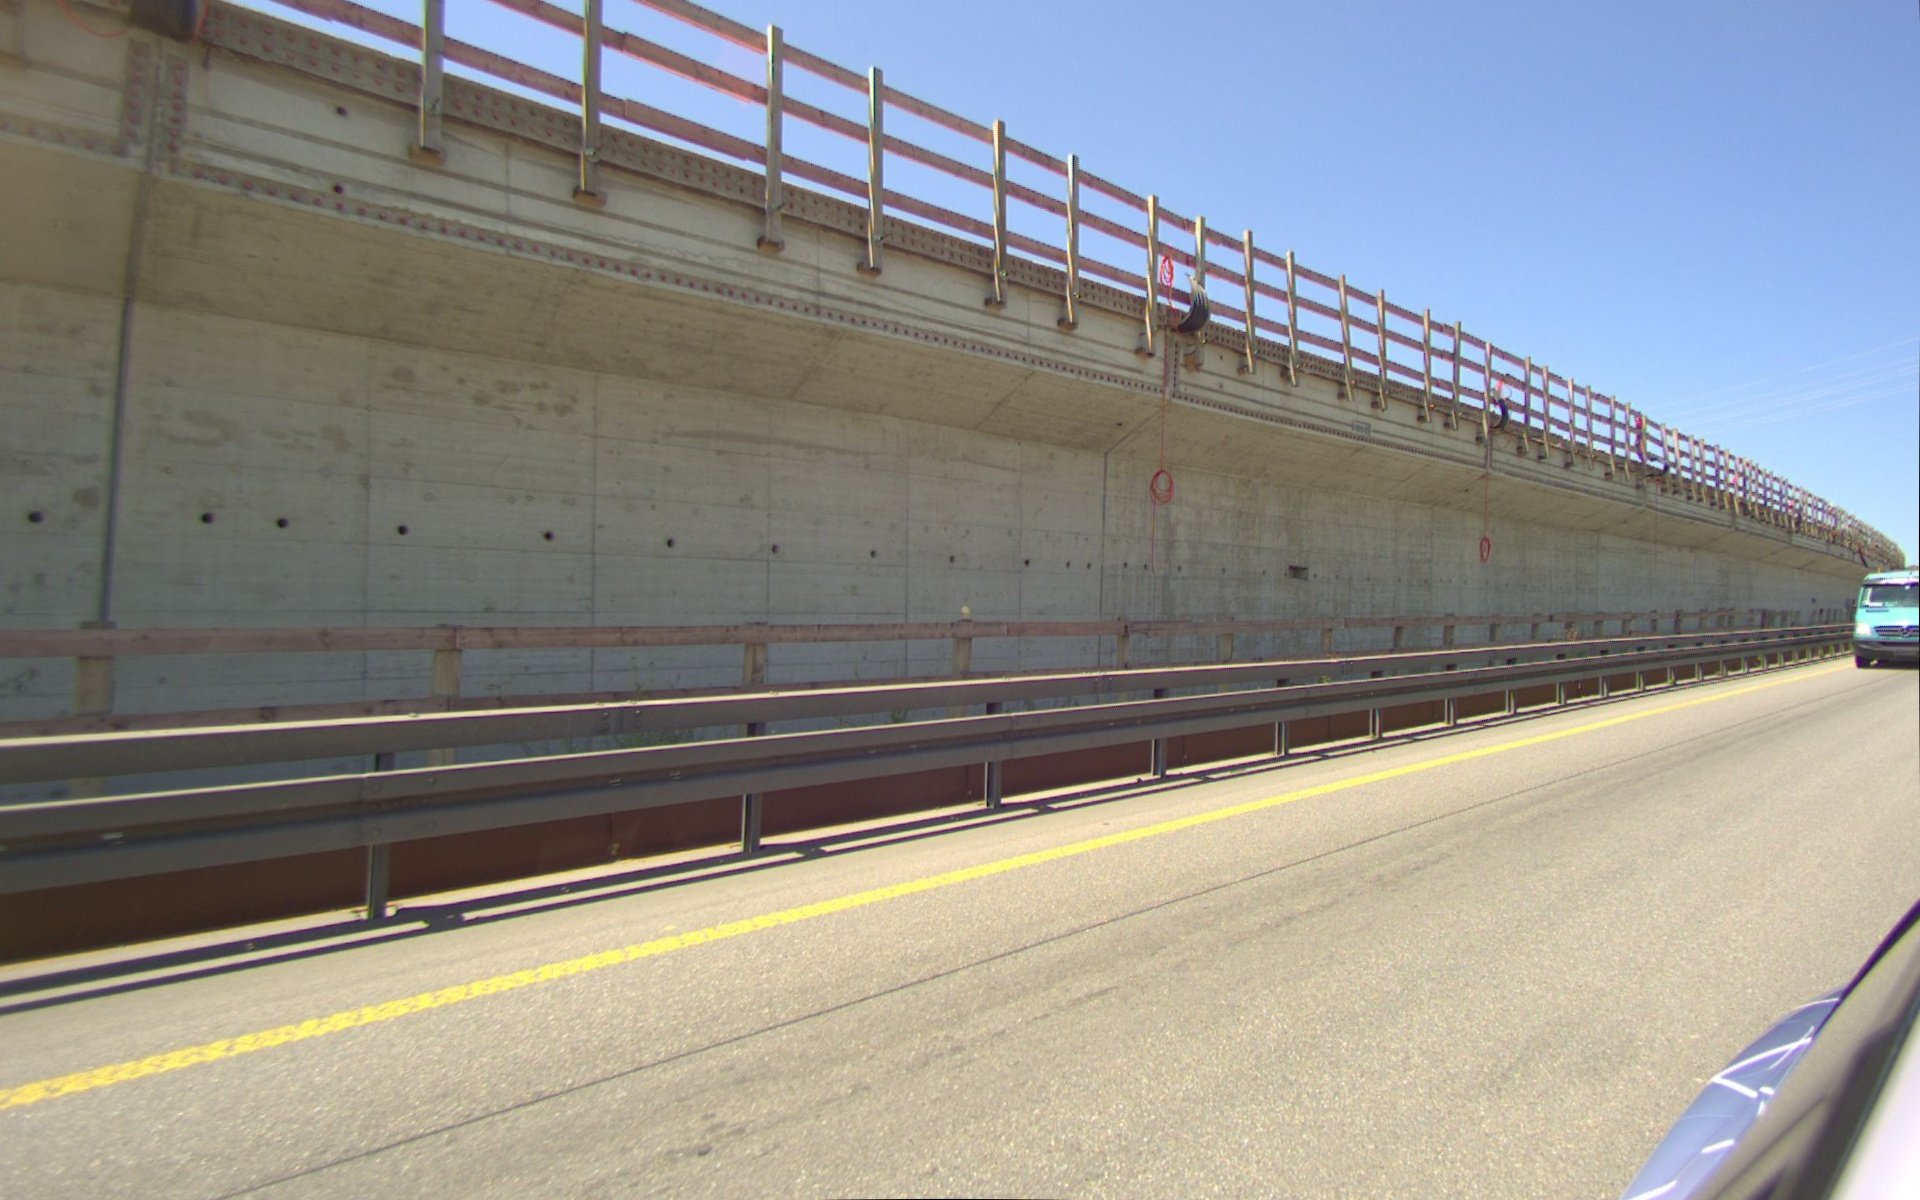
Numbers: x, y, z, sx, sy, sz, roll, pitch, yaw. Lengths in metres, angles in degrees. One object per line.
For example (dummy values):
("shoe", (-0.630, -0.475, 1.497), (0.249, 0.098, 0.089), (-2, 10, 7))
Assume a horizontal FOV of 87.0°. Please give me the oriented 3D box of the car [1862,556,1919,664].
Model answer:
("car", (24.204, 0.207, 24.945), (7.084, 2.411, 1.966), (0, -2, -41))
